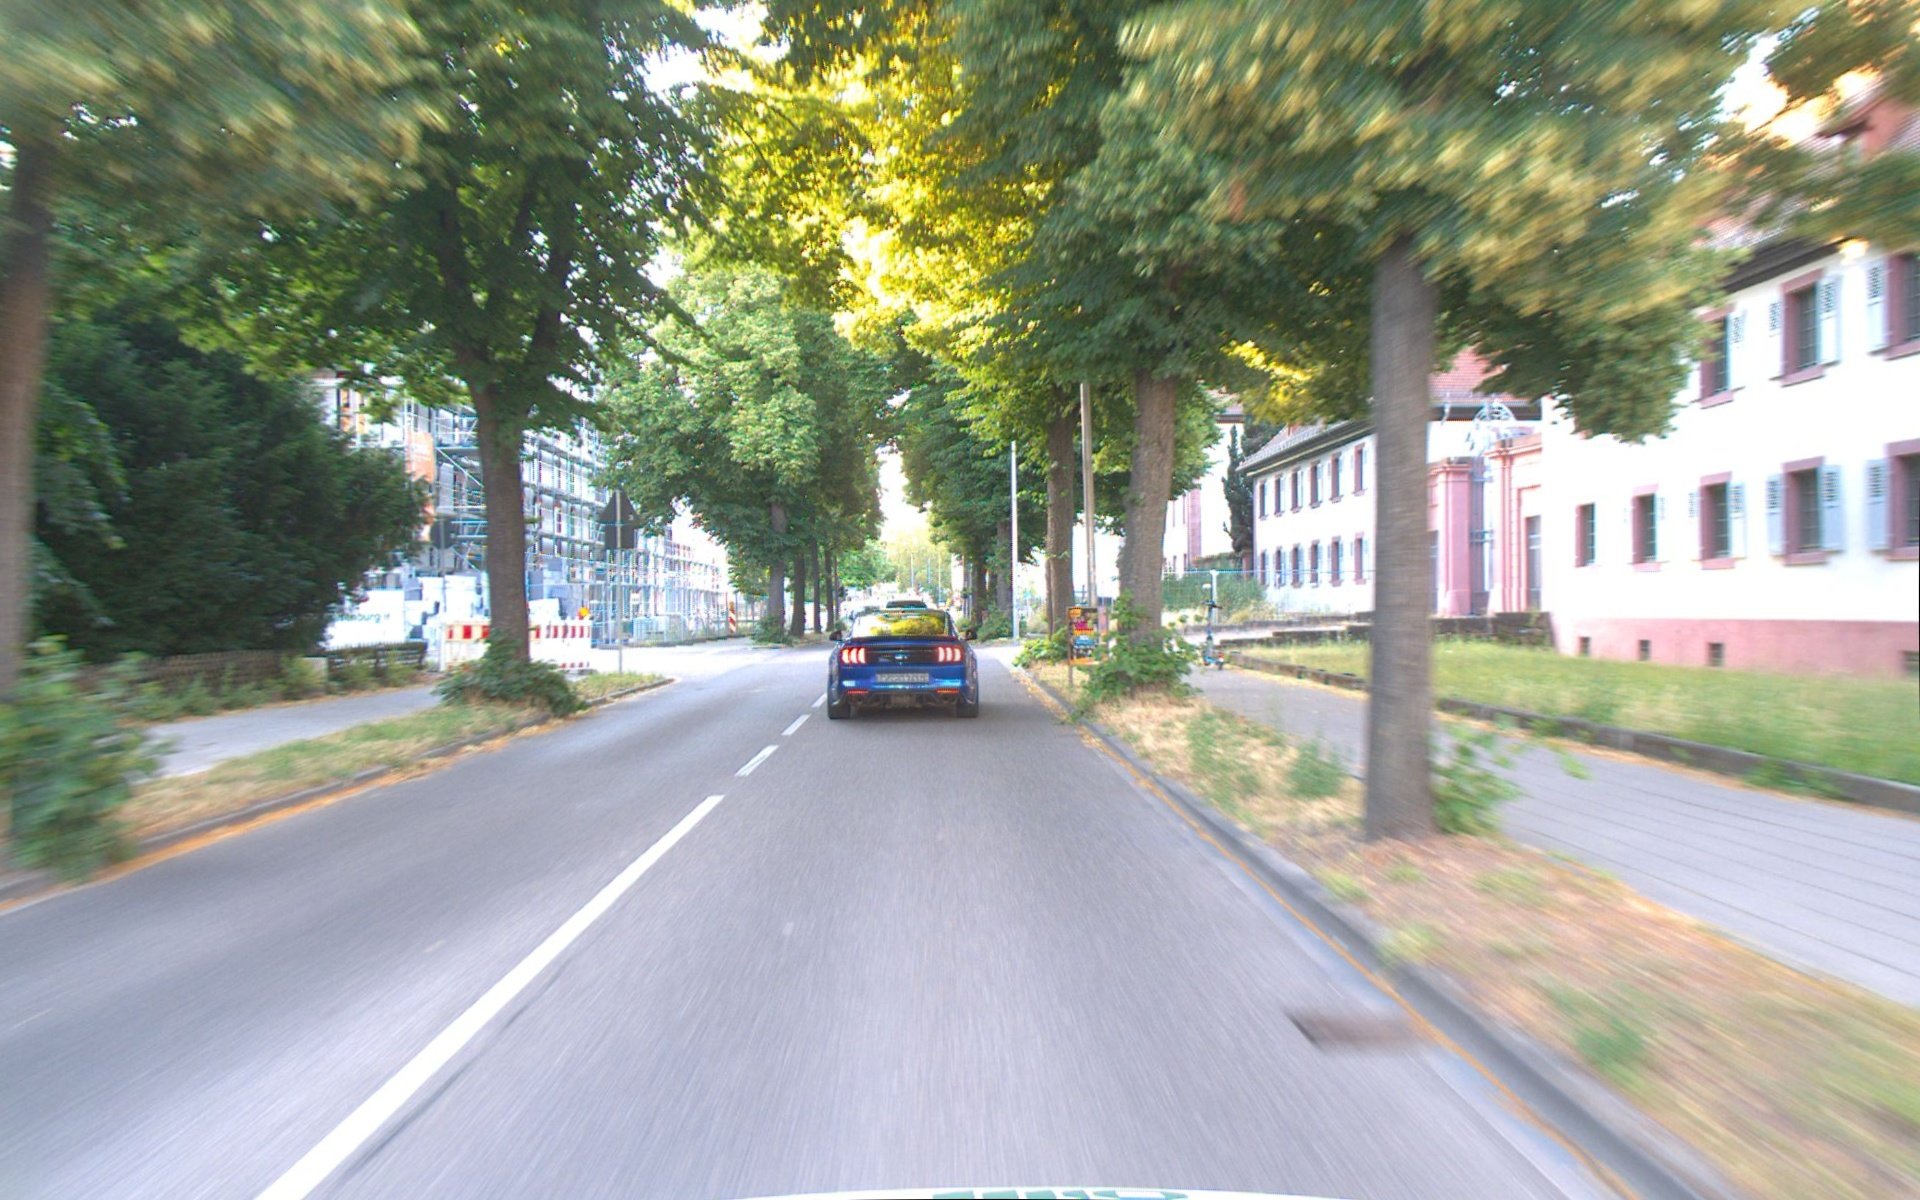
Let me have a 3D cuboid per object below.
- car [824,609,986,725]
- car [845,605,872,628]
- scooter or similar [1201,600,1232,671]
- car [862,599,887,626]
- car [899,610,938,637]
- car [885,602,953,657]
[{"bbox_3d":[-0.697,0.806,21.680,1.907,1.350,3.999,1,0,-1],"label":"car"},{"bbox_3d":[-10.023,1.588,163.233,2.288,2.236,5.308,-1,0,0],"label":"car"},{"bbox_3d":[4.817,0.658,31.072,0.234,1.298,1.265,-1,-1,-6],"label":"scooter or similar"},{"bbox_3d":[-8.984,1.358,174.820,2.442,2.744,5.828,-1,0,-2],"label":"car"},{"bbox_3d":[-2.181,1.226,88.159,1.907,1.350,4.000,1,0,1],"label":"car"},{"bbox_3d":[-1.195,0.874,50.200,1.907,1.554,4.000,1,0,1],"label":"car"}]
